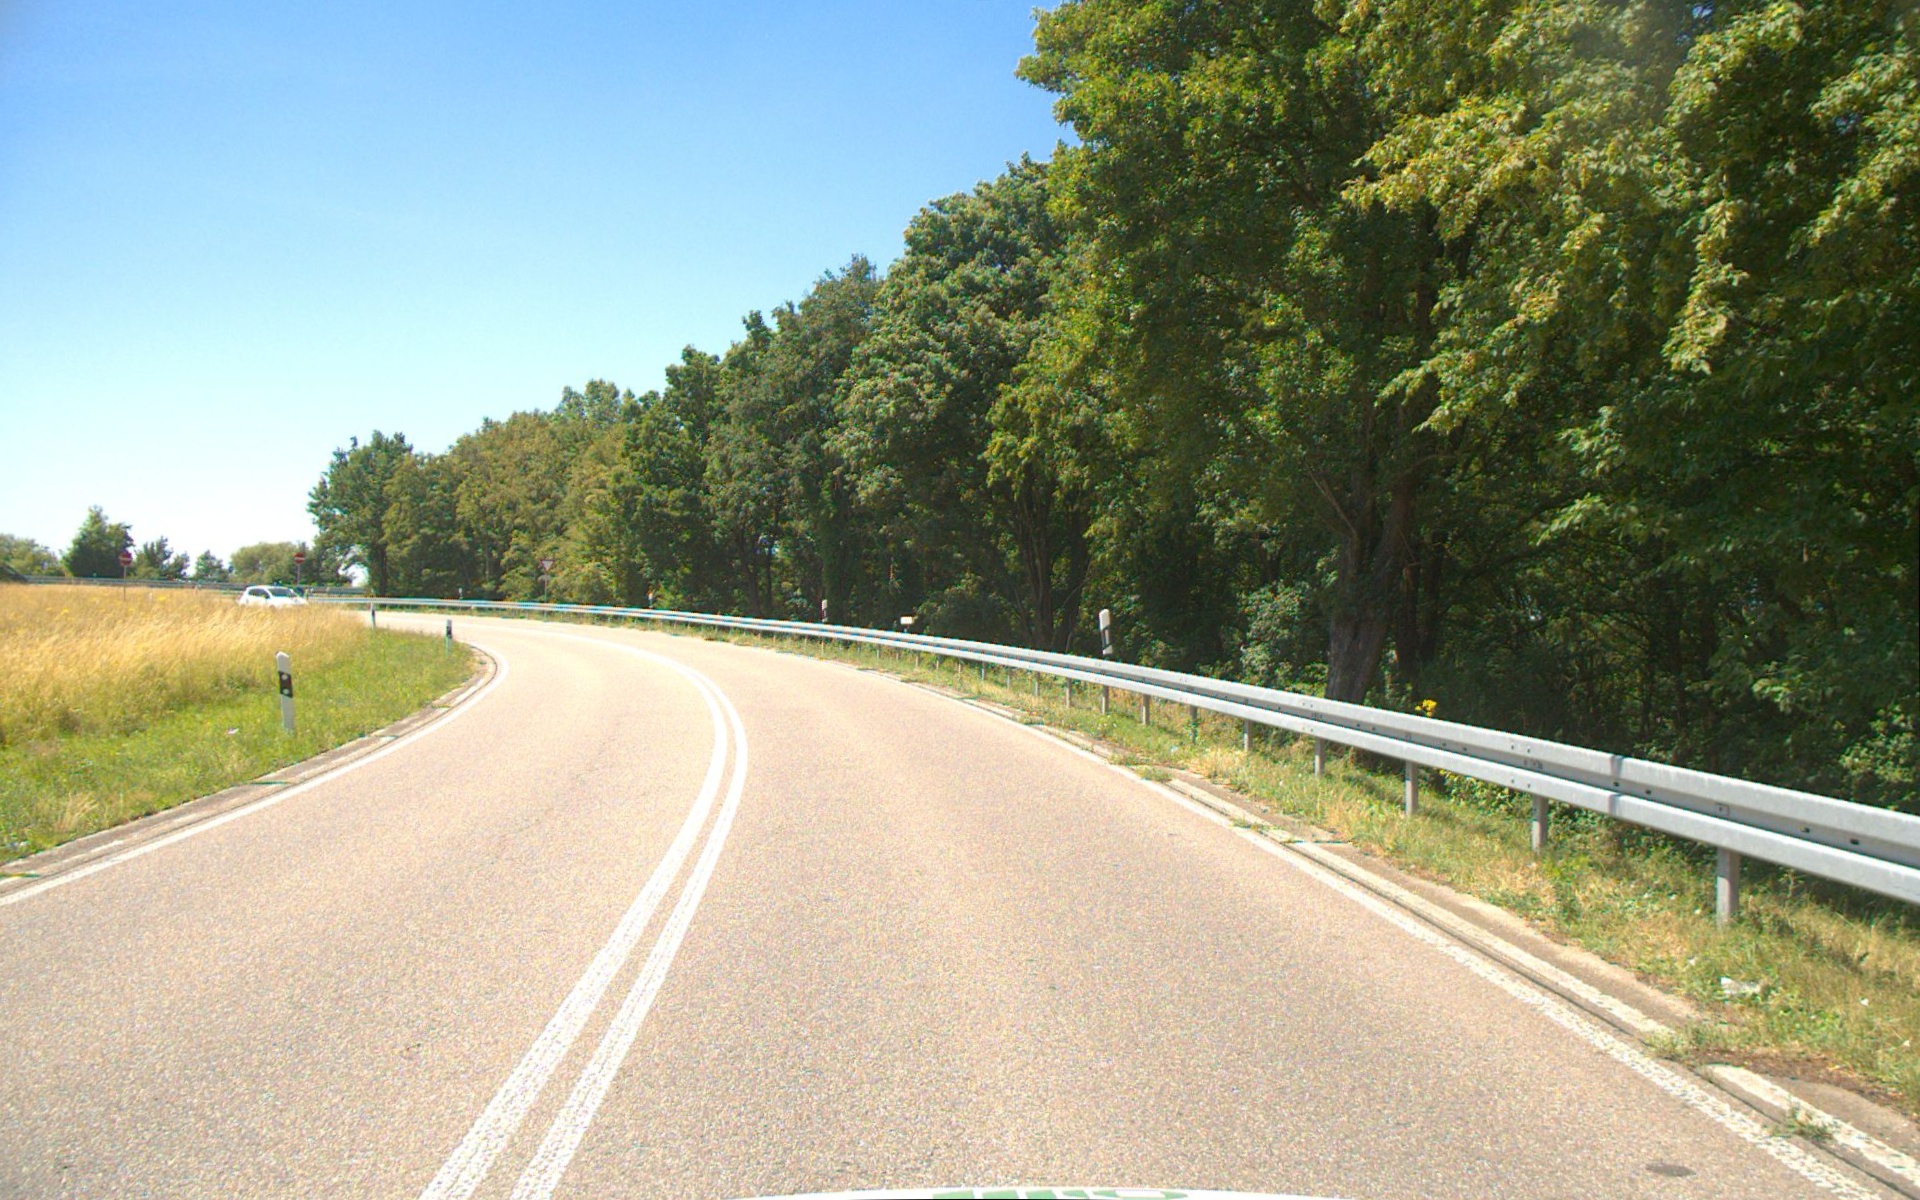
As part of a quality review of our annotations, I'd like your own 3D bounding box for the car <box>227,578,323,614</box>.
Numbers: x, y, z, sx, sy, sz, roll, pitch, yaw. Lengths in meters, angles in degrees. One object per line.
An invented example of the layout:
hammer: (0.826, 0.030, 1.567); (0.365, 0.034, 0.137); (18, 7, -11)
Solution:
car: (-31.869, -0.186, 76.956); (4.077, 1.533, 1.826); (1, -4, 27)
